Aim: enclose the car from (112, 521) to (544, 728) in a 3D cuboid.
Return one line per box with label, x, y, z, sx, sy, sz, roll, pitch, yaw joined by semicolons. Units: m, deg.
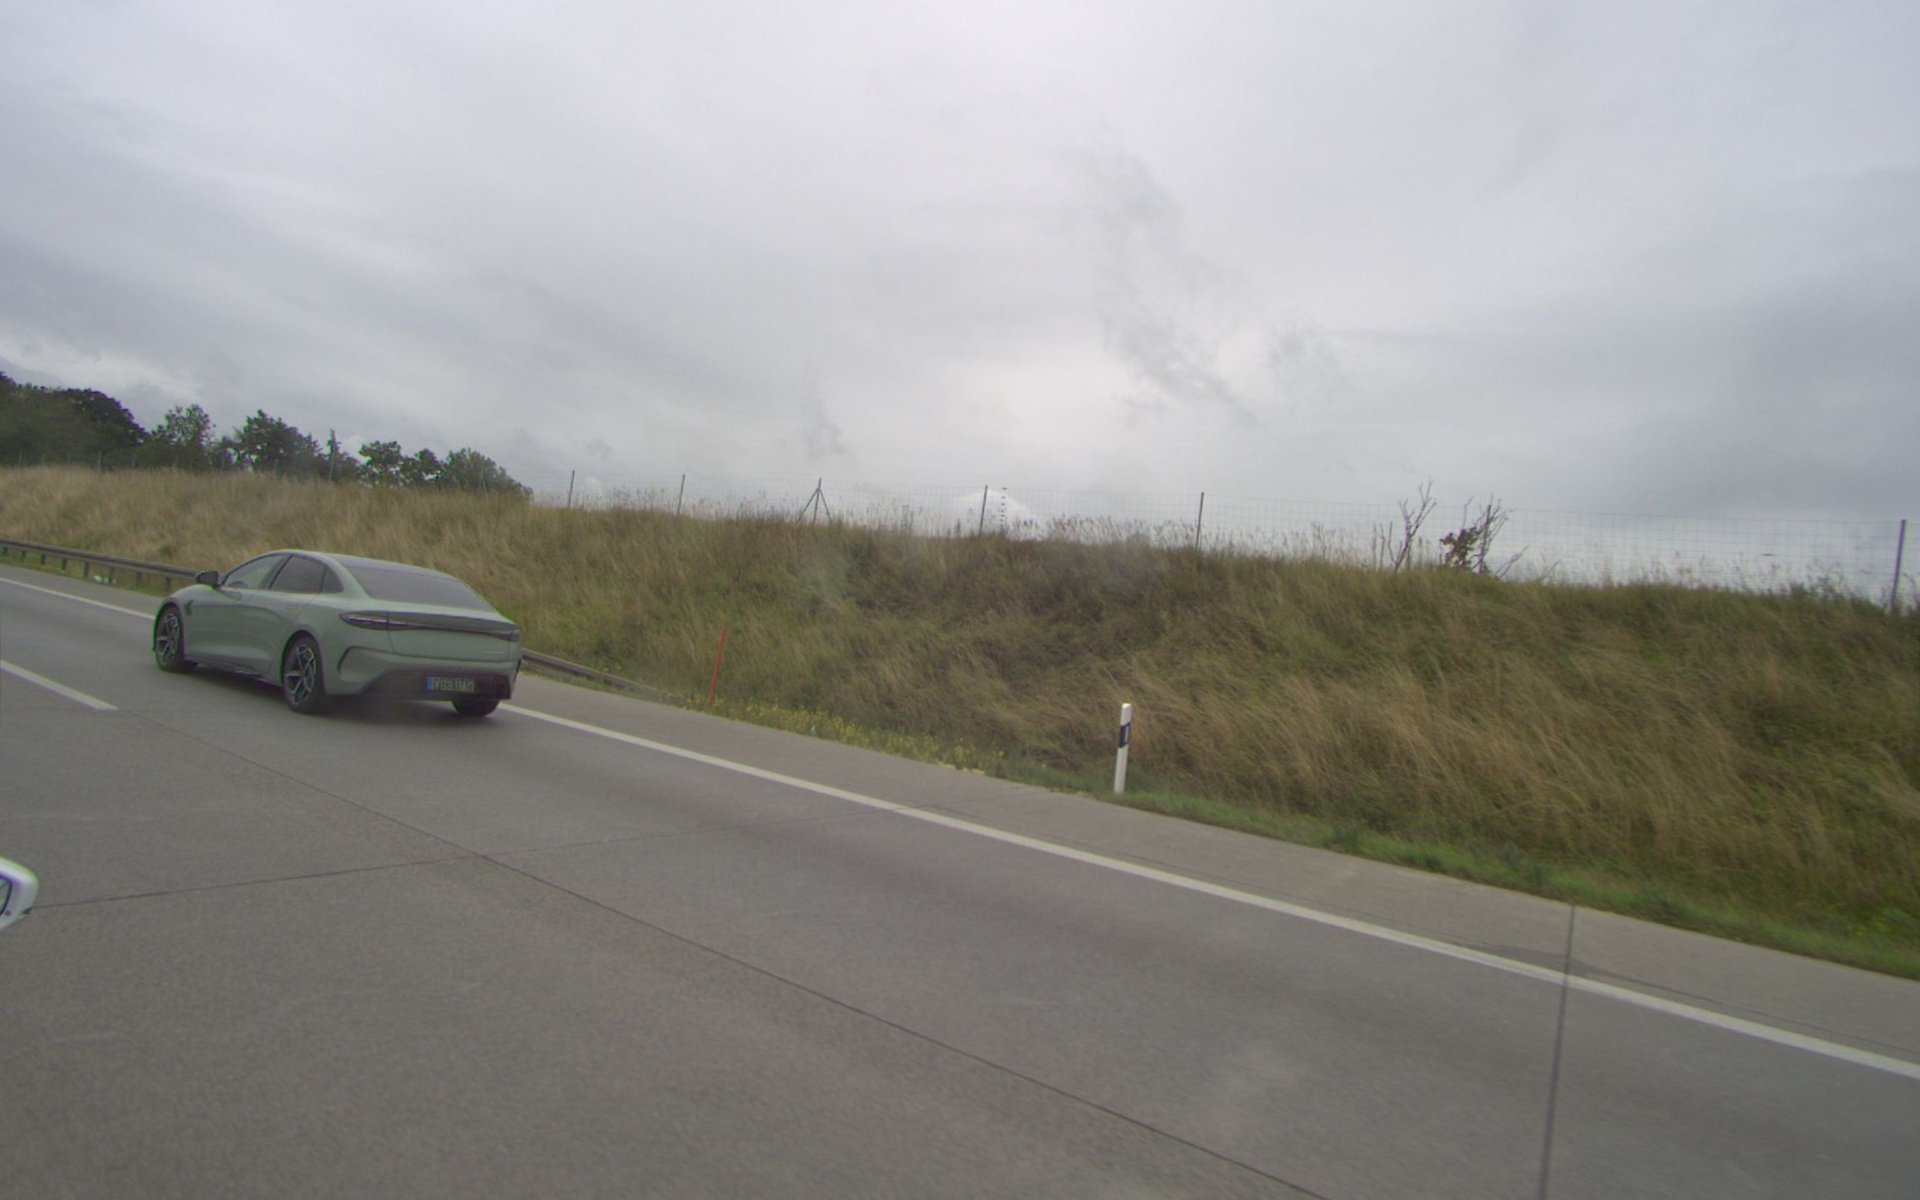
car;-6.875;0.214;10.797;4.667;1.462;2.018;8;-1;33
